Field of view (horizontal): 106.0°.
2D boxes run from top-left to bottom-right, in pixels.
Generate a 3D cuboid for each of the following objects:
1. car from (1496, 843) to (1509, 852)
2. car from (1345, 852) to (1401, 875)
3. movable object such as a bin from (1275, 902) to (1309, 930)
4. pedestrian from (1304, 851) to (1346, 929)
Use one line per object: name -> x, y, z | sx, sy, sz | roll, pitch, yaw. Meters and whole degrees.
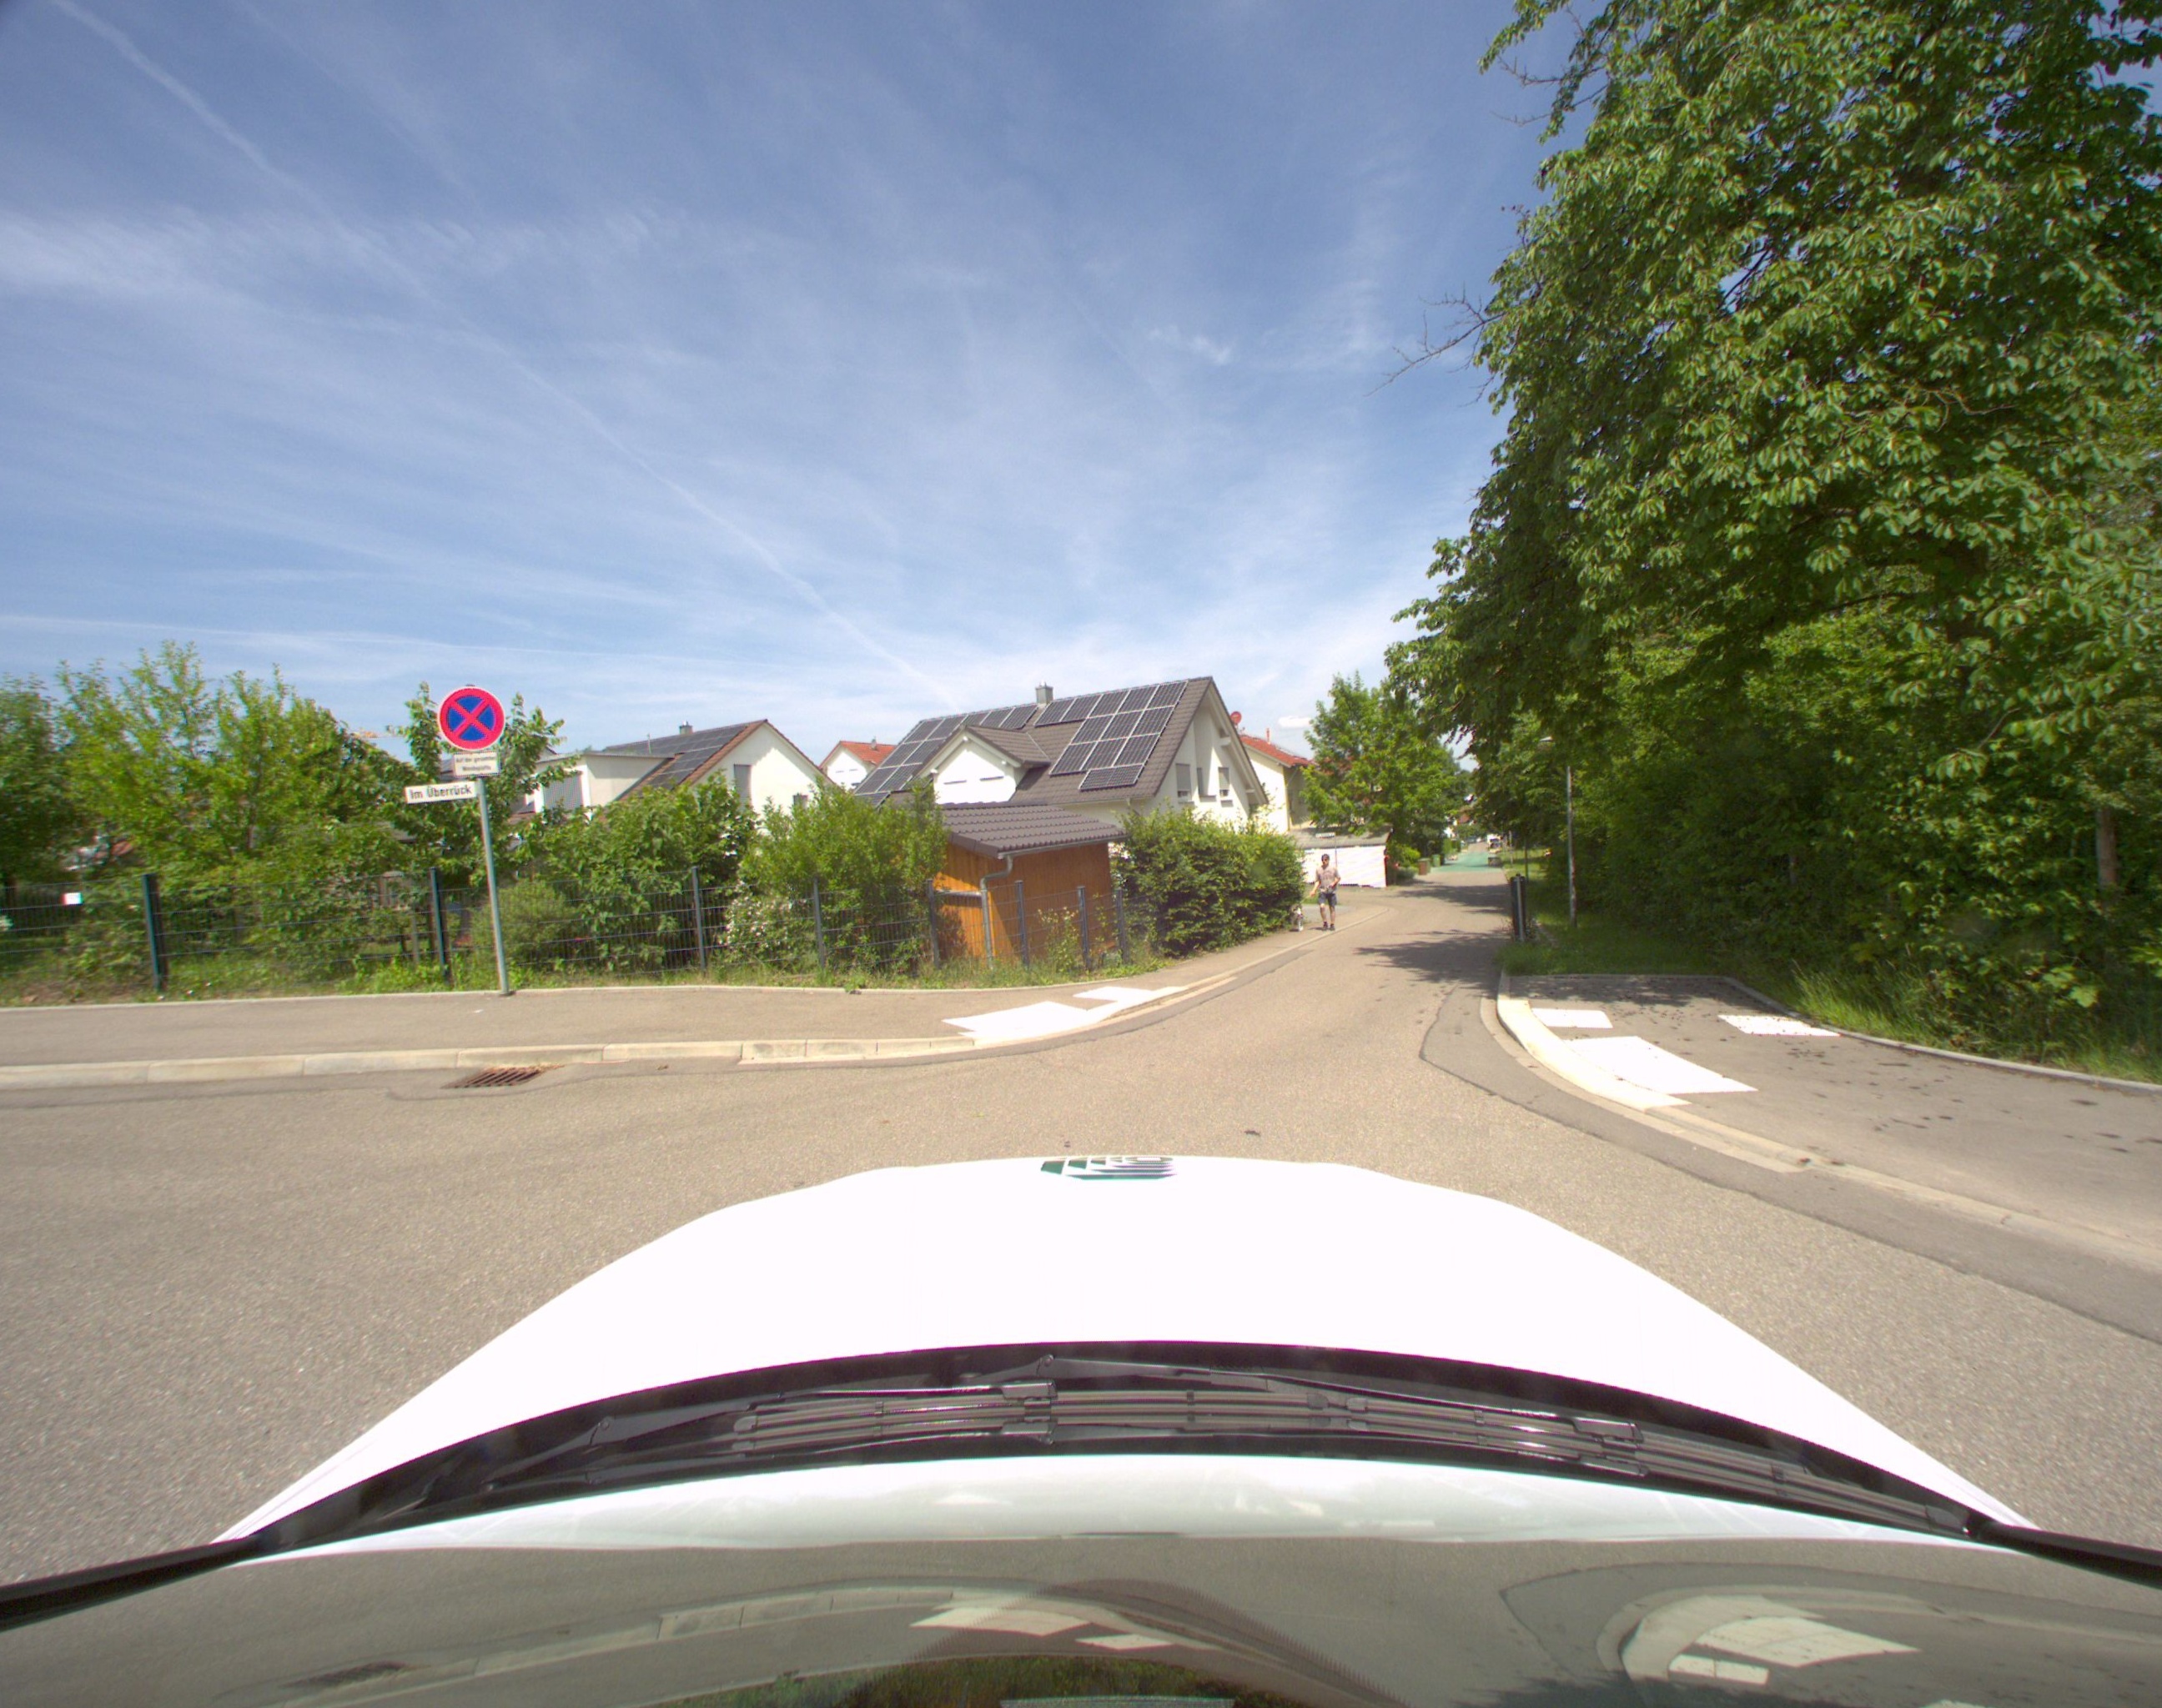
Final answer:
car -> 71.090, -1.130, 137.354 | 1.564, 1.420, 3.249 | -2, 2, 23
car -> 19.229, 0.649, 53.831 | 3.389, 1.420, 1.593 | -1, 1, 16
movable object such as a bin -> 5.032, 1.465, 19.385 | 0.543, 0.629, 1.027 | -2, -2, 28
pedestrian -> 5.847, 0.865, 19.469 | 0.838, 1.820, 0.839 | -2, -2, 21
